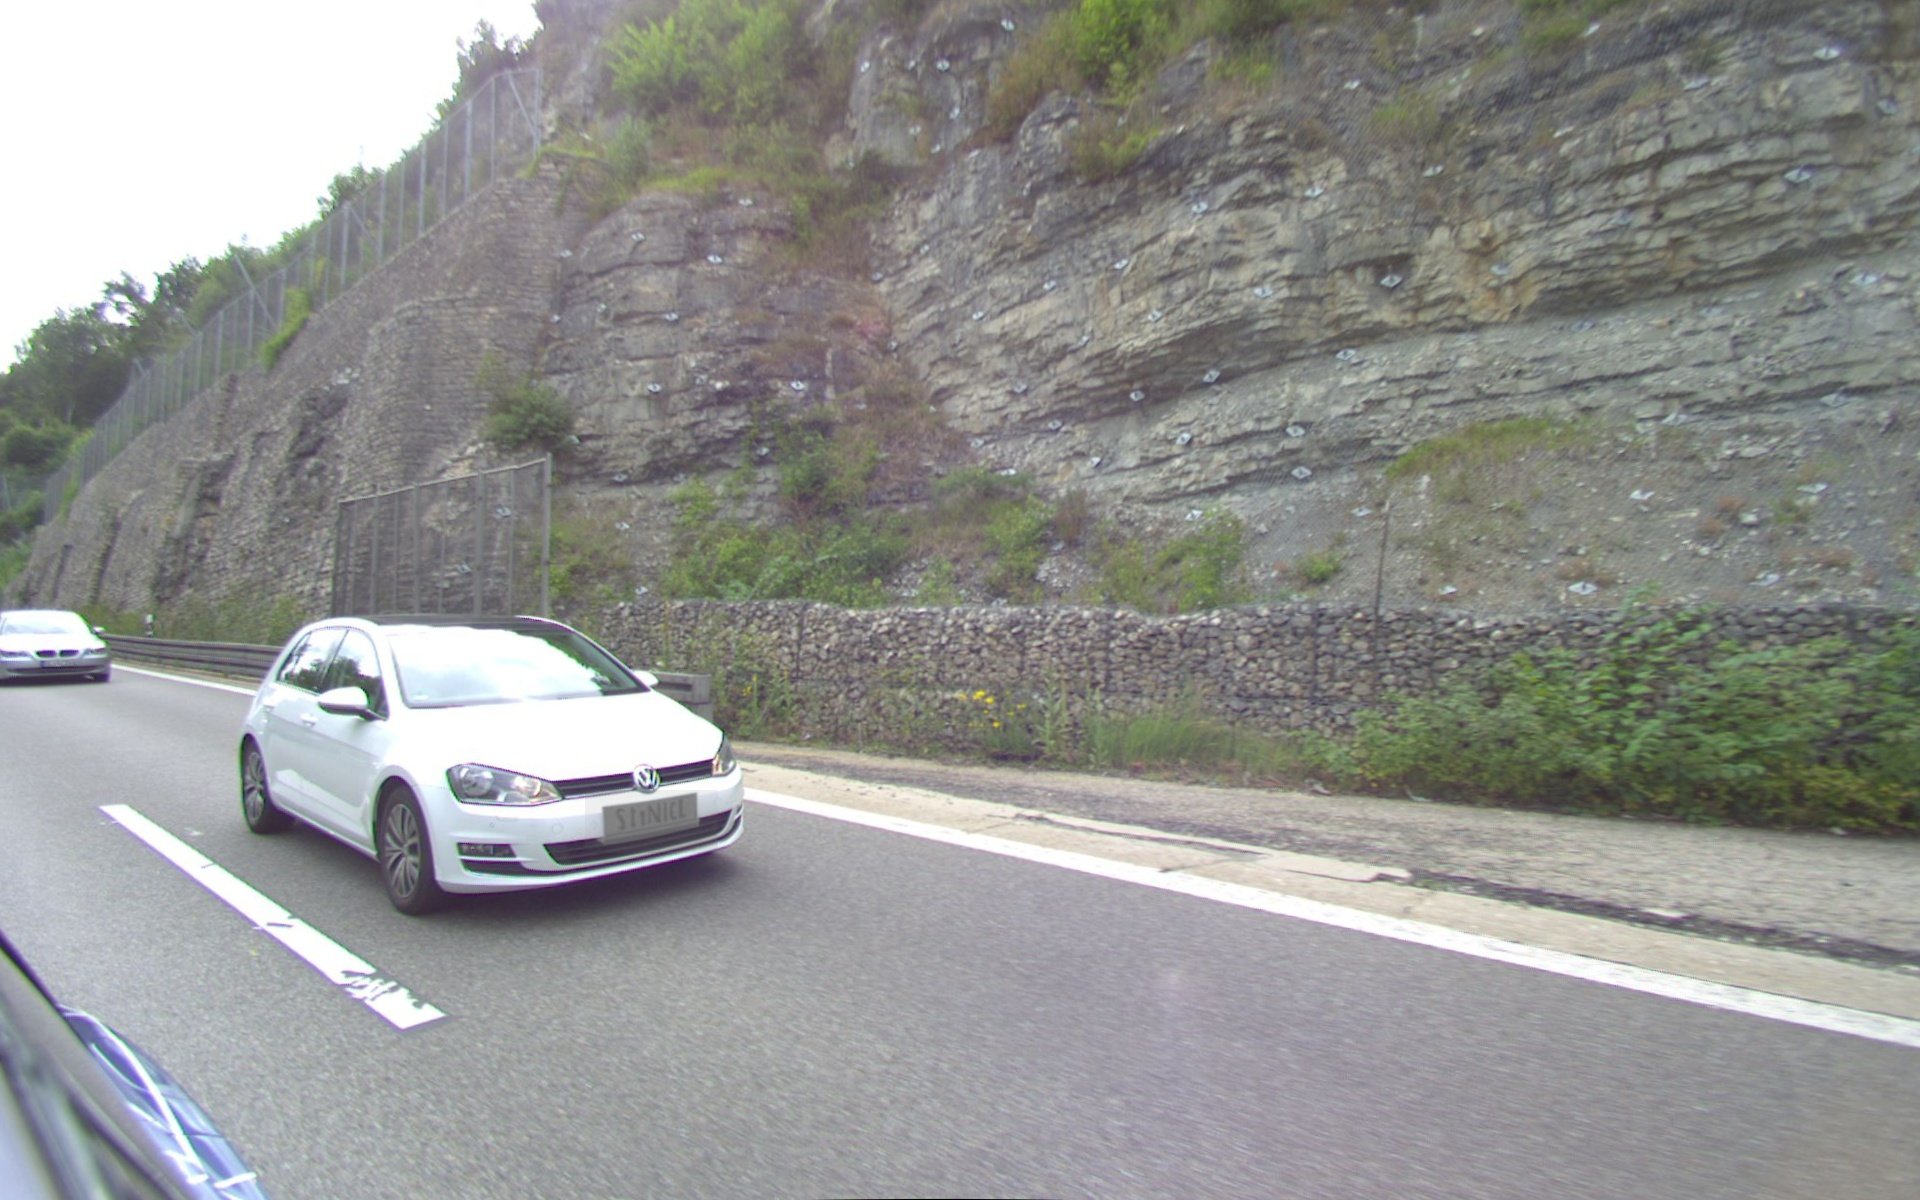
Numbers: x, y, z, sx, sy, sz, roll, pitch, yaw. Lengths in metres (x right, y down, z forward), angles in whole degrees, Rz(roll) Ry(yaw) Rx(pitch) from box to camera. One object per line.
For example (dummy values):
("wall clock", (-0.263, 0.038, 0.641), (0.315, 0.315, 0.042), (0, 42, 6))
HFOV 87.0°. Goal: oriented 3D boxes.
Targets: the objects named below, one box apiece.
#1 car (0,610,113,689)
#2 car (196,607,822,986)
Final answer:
("car", (-19.296, 0.962, 21.062), (5.133, 1.468, 1.809), (-1, -1, 42))
("car", (-3.072, 0.810, 6.314), (4.626, 1.493, 1.825), (0, 0, 41))
